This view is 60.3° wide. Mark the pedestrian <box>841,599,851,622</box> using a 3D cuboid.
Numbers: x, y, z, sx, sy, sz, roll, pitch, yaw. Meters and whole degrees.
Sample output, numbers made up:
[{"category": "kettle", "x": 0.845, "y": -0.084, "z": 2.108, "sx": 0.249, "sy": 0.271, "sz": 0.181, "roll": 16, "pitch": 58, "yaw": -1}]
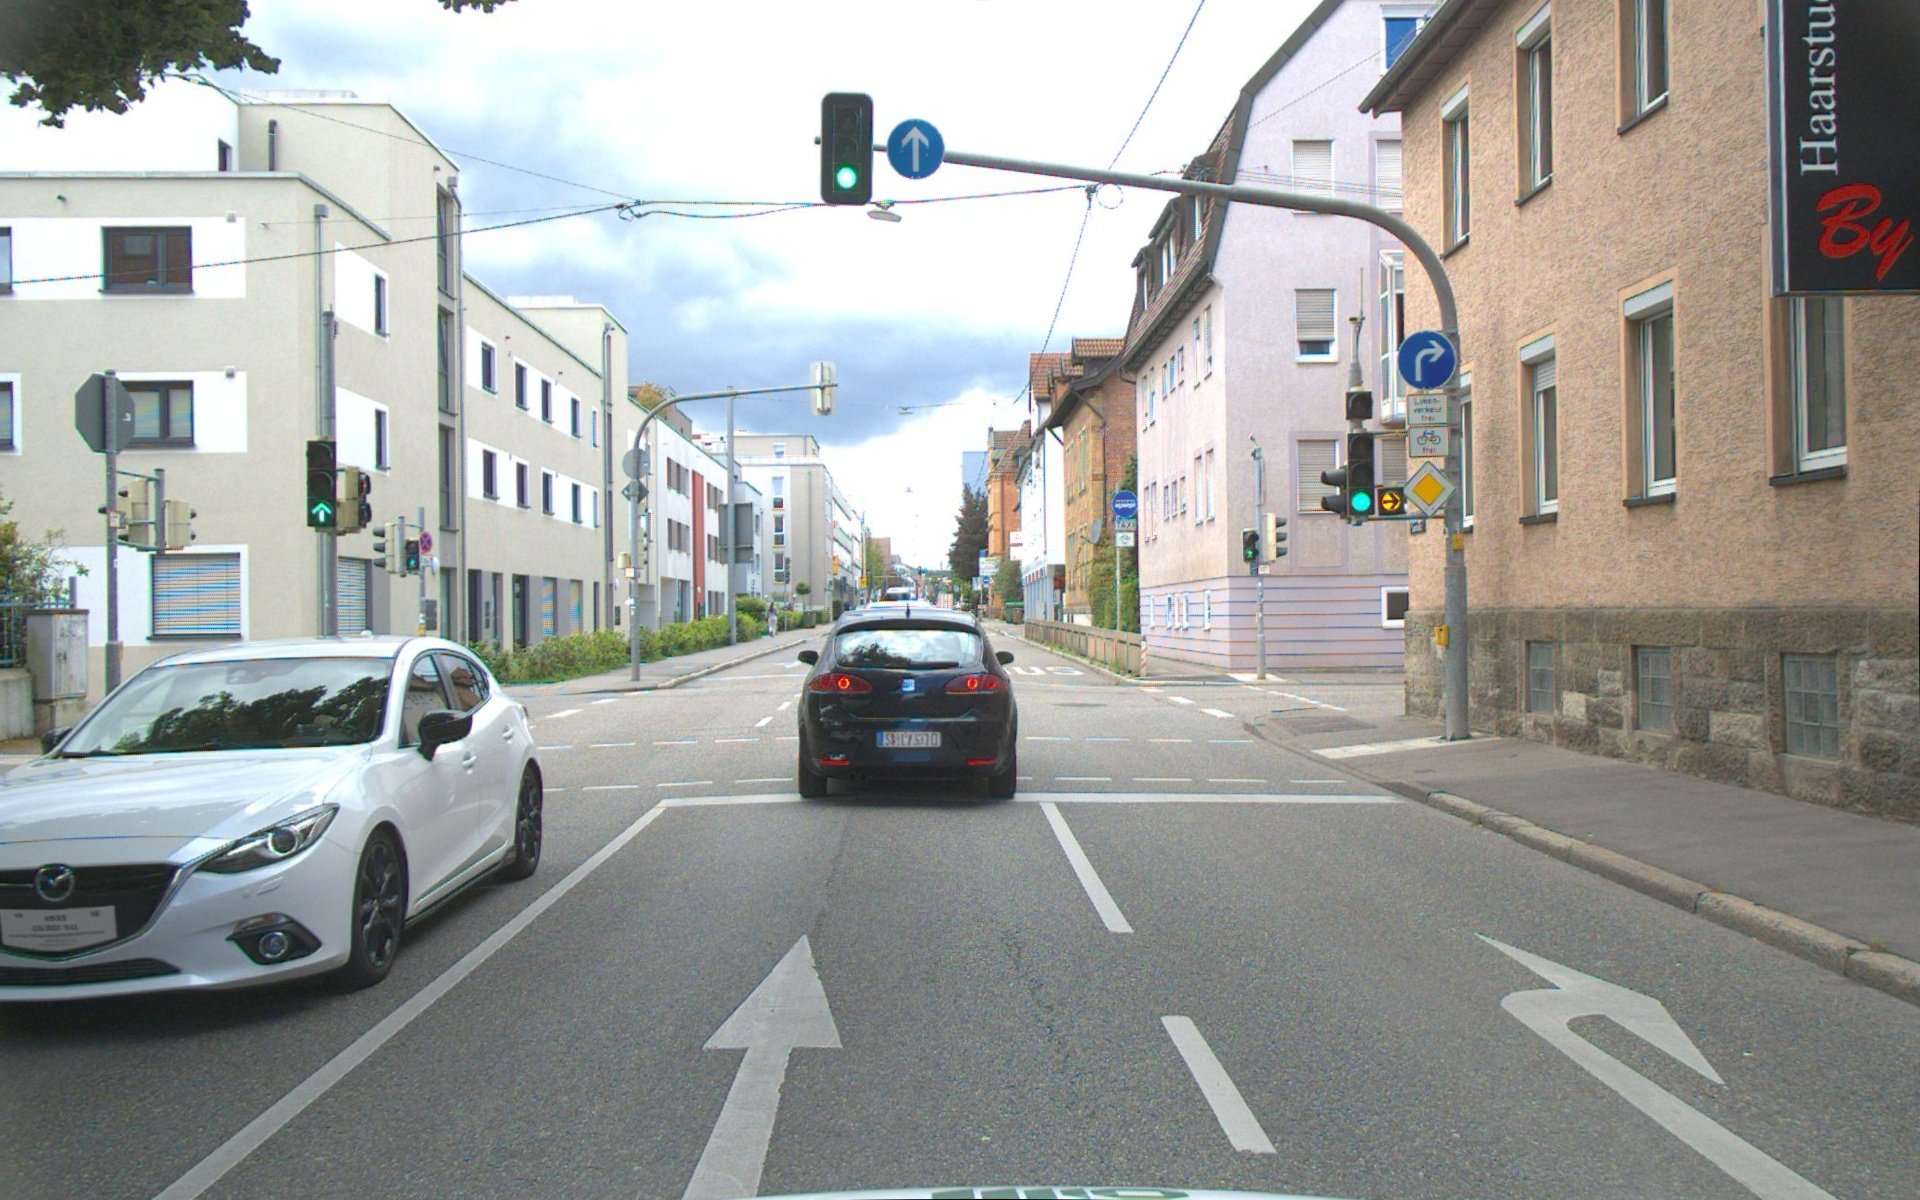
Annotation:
[{"category": "pedestrian", "x": -8.902, "y": 0.833, "z": 129.170, "sx": 0.716, "sy": 1.759, "sz": 0.859, "roll": 0, "pitch": -1, "yaw": -2}]

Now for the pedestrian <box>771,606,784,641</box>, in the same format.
[{"category": "pedestrian", "x": -8.124, "y": 1.044, "z": 73.573, "sx": 0.516, "sy": 1.575, "sz": 0.541, "roll": 0, "pitch": -1, "yaw": -2}]

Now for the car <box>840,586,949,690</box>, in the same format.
[{"category": "car", "x": -1.140, "y": 0.658, "z": 29.569, "sx": 1.805, "sy": 1.723, "sz": 3.998, "roll": 0, "pitch": -1, "yaw": -2}]

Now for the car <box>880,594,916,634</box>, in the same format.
[{"category": "car", "x": -2.708, "y": 0.620, "z": 72.700, "sx": 1.500, "sy": 1.723, "sz": 3.691, "roll": 0, "pitch": -1, "yaw": -2}]

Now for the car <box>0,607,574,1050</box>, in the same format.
[{"category": "car", "x": -3.233, "y": 0.848, "z": 7.962, "sx": 1.731, "sy": 1.495, "sz": 4.225, "roll": -3, "pitch": -1, "yaw": -1}]

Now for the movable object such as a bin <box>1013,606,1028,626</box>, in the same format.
[{"category": "movable object such as a bin", "x": 4.052, "y": 1.075, "z": 111.002, "sx": 0.909, "sy": 1.306, "sz": 0.883, "roll": 0, "pitch": -1, "yaw": -1}]

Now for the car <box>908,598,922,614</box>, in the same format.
[{"category": "car", "x": -4.825, "y": 0.636, "z": 176.479, "sx": 1.500, "sy": 1.723, "sz": 3.692, "roll": 0, "pitch": 0, "yaw": -2}]

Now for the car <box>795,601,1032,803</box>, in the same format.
[{"category": "car", "x": -0.381, "y": 0.765, "z": 14.066, "sx": 1.723, "sy": 1.467, "sz": 3.999, "roll": 0, "pitch": -1, "yaw": -1}]

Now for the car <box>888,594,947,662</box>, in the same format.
[{"category": "car", "x": -1.130, "y": 0.722, "z": 43.837, "sx": 1.500, "sy": 1.723, "sz": 3.691, "roll": 0, "pitch": -1, "yaw": -2}]

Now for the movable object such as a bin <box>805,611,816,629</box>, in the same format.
[{"category": "movable object such as a bin", "x": -8.849, "y": 1.174, "z": 97.911, "sx": 0.538, "sy": 1.097, "sz": 0.611, "roll": 0, "pitch": -1, "yaw": -1}]

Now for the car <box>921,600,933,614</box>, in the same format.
[{"category": "car", "x": -4.058, "y": 0.863, "z": 203.975, "sx": 1.500, "sy": 1.722, "sz": 3.692, "roll": -1, "pitch": 0, "yaw": -2}]

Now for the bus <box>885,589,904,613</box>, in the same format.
[{"category": "bus", "x": -7.992, "y": 0.149, "z": 202.750, "sx": 2.165, "sy": 2.937, "sz": 8.916, "roll": 0, "pitch": -1, "yaw": -1}]

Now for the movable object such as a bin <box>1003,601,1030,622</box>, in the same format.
[{"category": "movable object such as a bin", "x": 3.916, "y": 0.817, "z": 115.279, "sx": 1.781, "sy": 1.462, "sz": 1.992, "roll": 0, "pitch": -1, "yaw": -1}]
